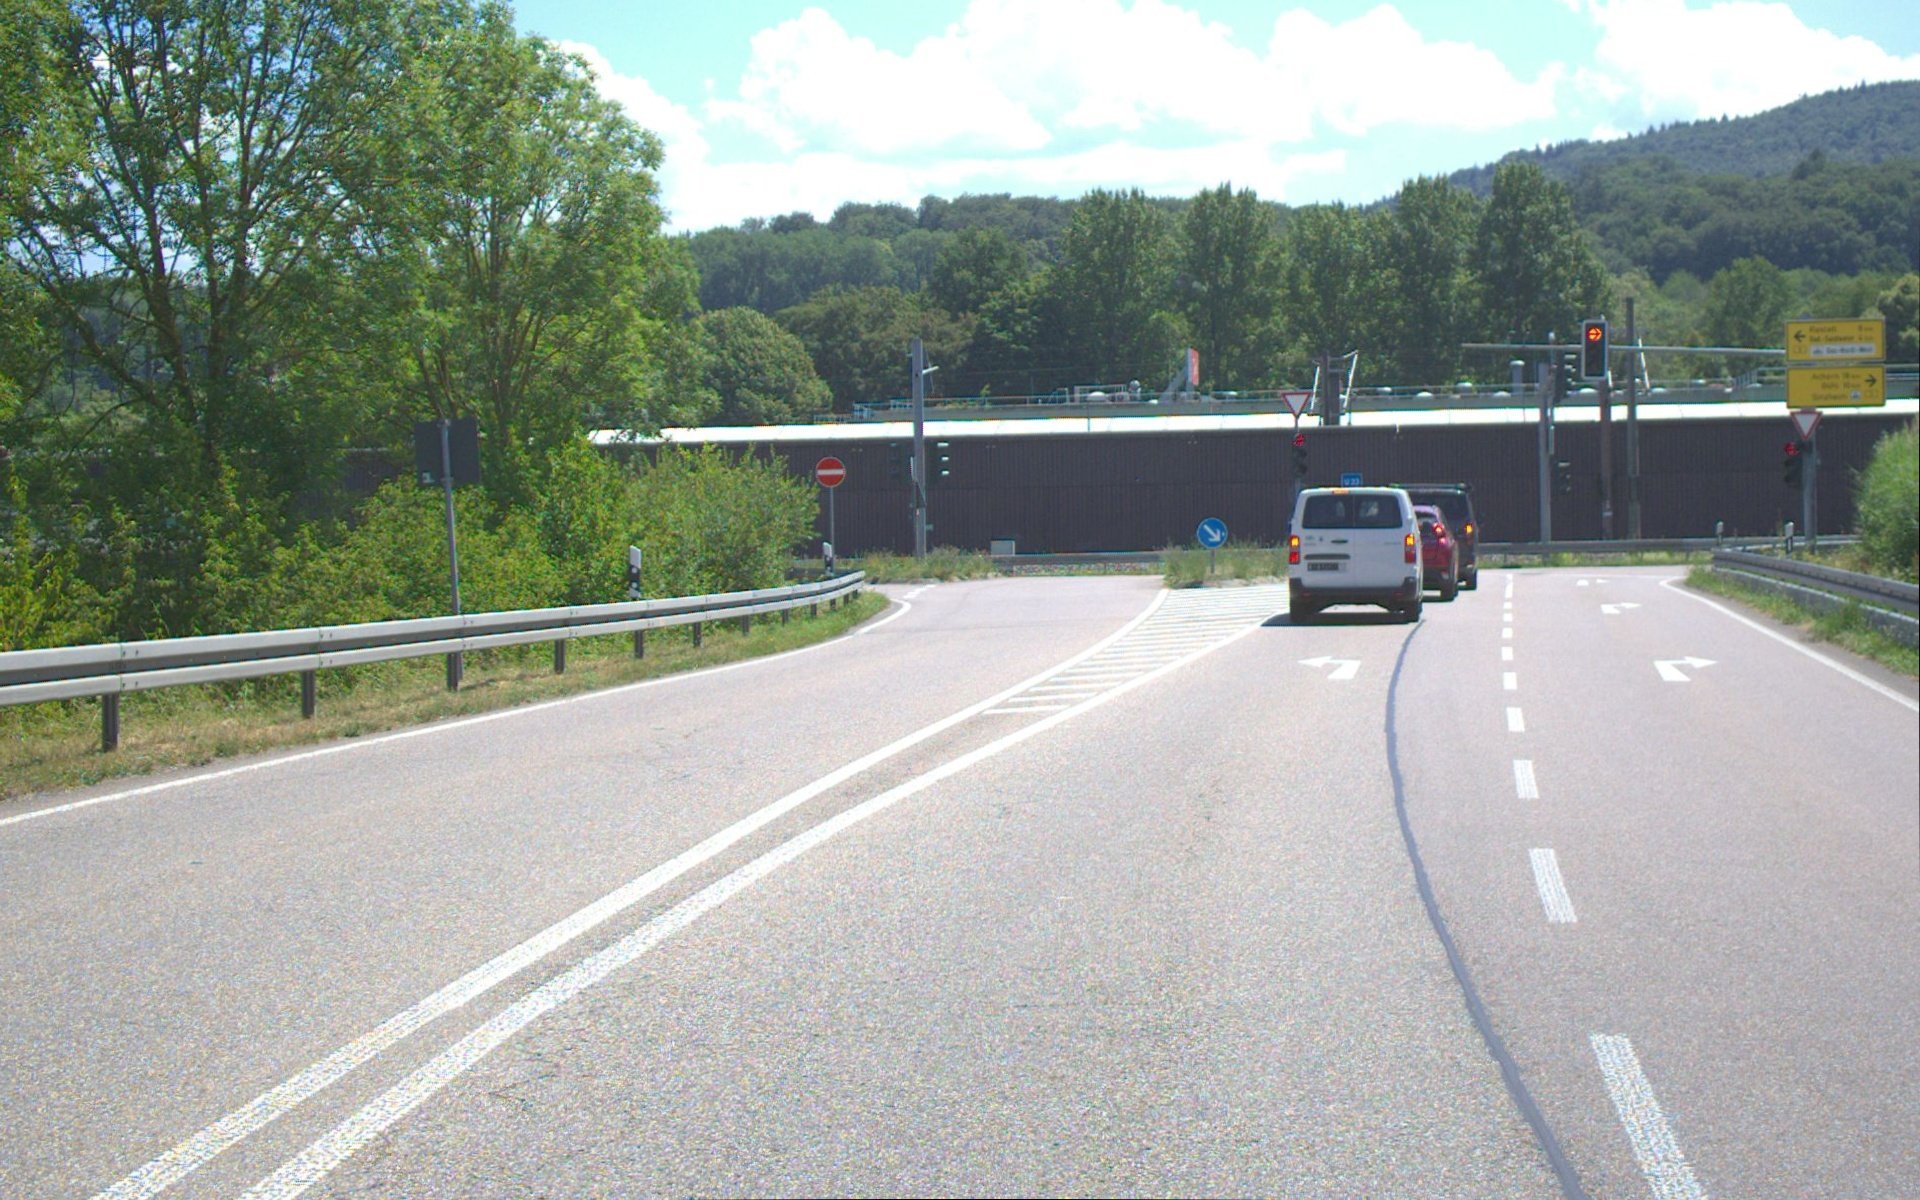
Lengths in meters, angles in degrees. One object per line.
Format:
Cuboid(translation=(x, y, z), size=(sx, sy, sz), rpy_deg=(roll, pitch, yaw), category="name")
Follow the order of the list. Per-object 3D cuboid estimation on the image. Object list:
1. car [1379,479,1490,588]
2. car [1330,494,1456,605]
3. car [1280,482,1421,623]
Cuboid(translation=(9.351, -1.307, 67.541), size=(1.994, 2.006, 3.999), rpy_deg=(-2, 1, 9), category="car")
Cuboid(translation=(7.617, -0.902, 60.193), size=(1.994, 1.806, 3.999), rpy_deg=(-2, 1, 9), category="car")
Cuboid(translation=(5.705, -0.709, 49.879), size=(1.871, 1.958, 3.999), rpy_deg=(0, 1, 9), category="car")
